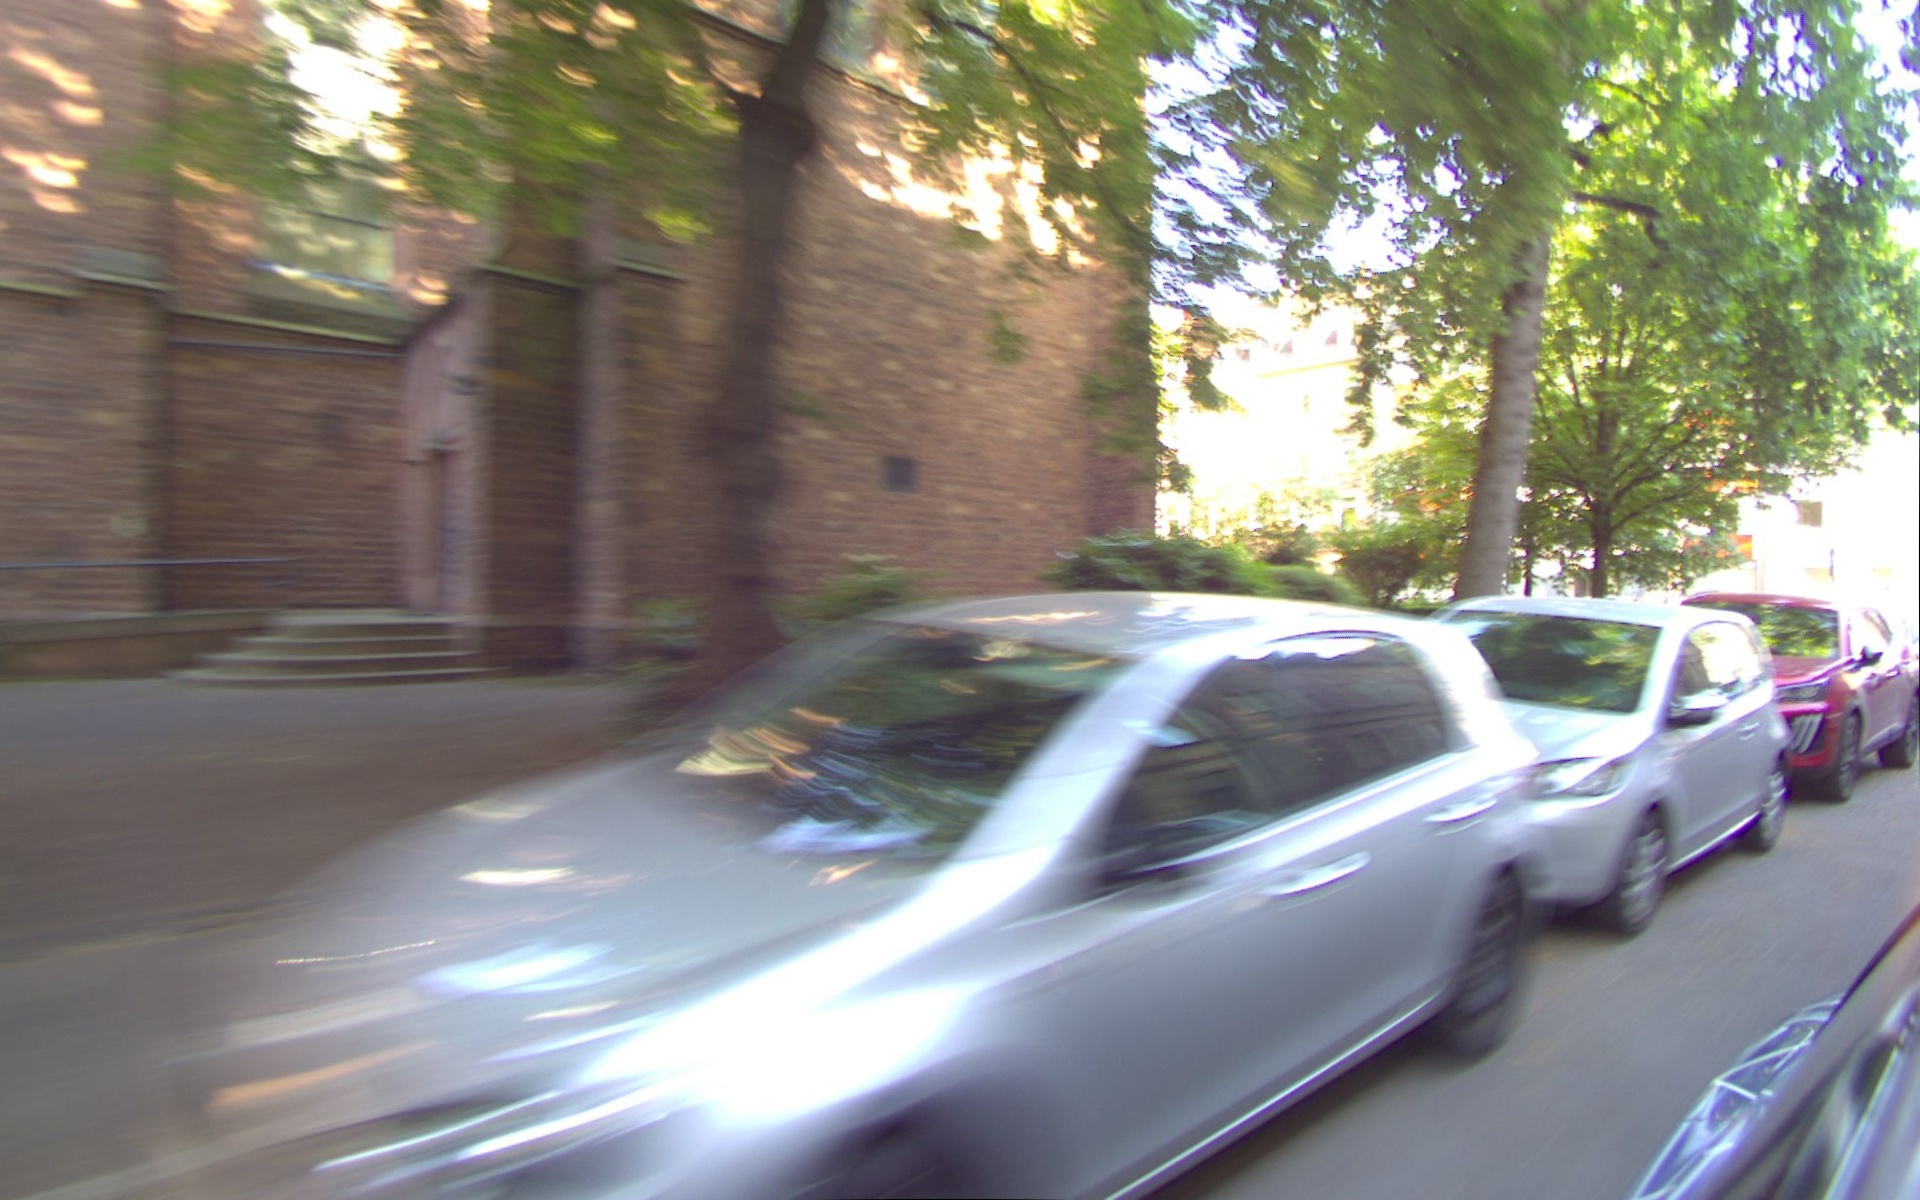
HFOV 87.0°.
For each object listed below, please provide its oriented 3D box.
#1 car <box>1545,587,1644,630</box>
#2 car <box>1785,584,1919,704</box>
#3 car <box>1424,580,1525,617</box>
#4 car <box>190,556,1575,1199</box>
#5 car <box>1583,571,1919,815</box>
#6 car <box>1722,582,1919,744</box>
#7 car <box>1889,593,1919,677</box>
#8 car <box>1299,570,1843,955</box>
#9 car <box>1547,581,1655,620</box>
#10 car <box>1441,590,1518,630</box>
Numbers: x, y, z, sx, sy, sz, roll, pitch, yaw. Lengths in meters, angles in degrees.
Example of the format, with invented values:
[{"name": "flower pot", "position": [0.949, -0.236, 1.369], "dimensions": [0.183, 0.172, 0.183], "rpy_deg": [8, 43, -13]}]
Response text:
[{"name": "car", "position": [23.205, 0.263, 37.200], "dimensions": [1.756, 1.449, 4.397], "rpy_deg": [-1, 1, 14]}, {"name": "car", "position": [14.507, 0.586, 15.824], "dimensions": [3.988, 1.537, 1.669], "rpy_deg": [-1, 6, -40]}, {"name": "car", "position": [24.645, -0.097, 48.556], "dimensions": [1.622, 1.636, 4.032], "rpy_deg": [-3, 3, -41]}, {"name": "car", "position": [0.180, 0.658, 2.953], "dimensions": [3.801, 1.488, 1.603], "rpy_deg": [-1, 3, -40]}, {"name": "car", "position": [7.311, 0.612, 8.991], "dimensions": [4.026, 1.604, 1.669], "rpy_deg": [-1, 6, -39]}, {"name": "car", "position": [10.905, 0.621, 12.453], "dimensions": [3.885, 1.537, 1.667], "rpy_deg": [-1, 6, -43]}, {"name": "car", "position": [18.949, 0.634, 19.161], "dimensions": [3.935, 1.454, 1.624], "rpy_deg": [-1, 3, -42]}, {"name": "car", "position": [3.787, 0.644, 6.042], "dimensions": [3.655, 1.523, 1.603], "rpy_deg": [-1, 6, -40]}, {"name": "car", "position": [28.047, -0.019, 44.326], "dimensions": [1.622, 1.577, 3.692], "rpy_deg": [-3, 3, -41]}, {"name": "car", "position": [20.946, 0.369, 40.977], "dimensions": [1.756, 1.449, 4.397], "rpy_deg": [-1, 1, 14]}]
